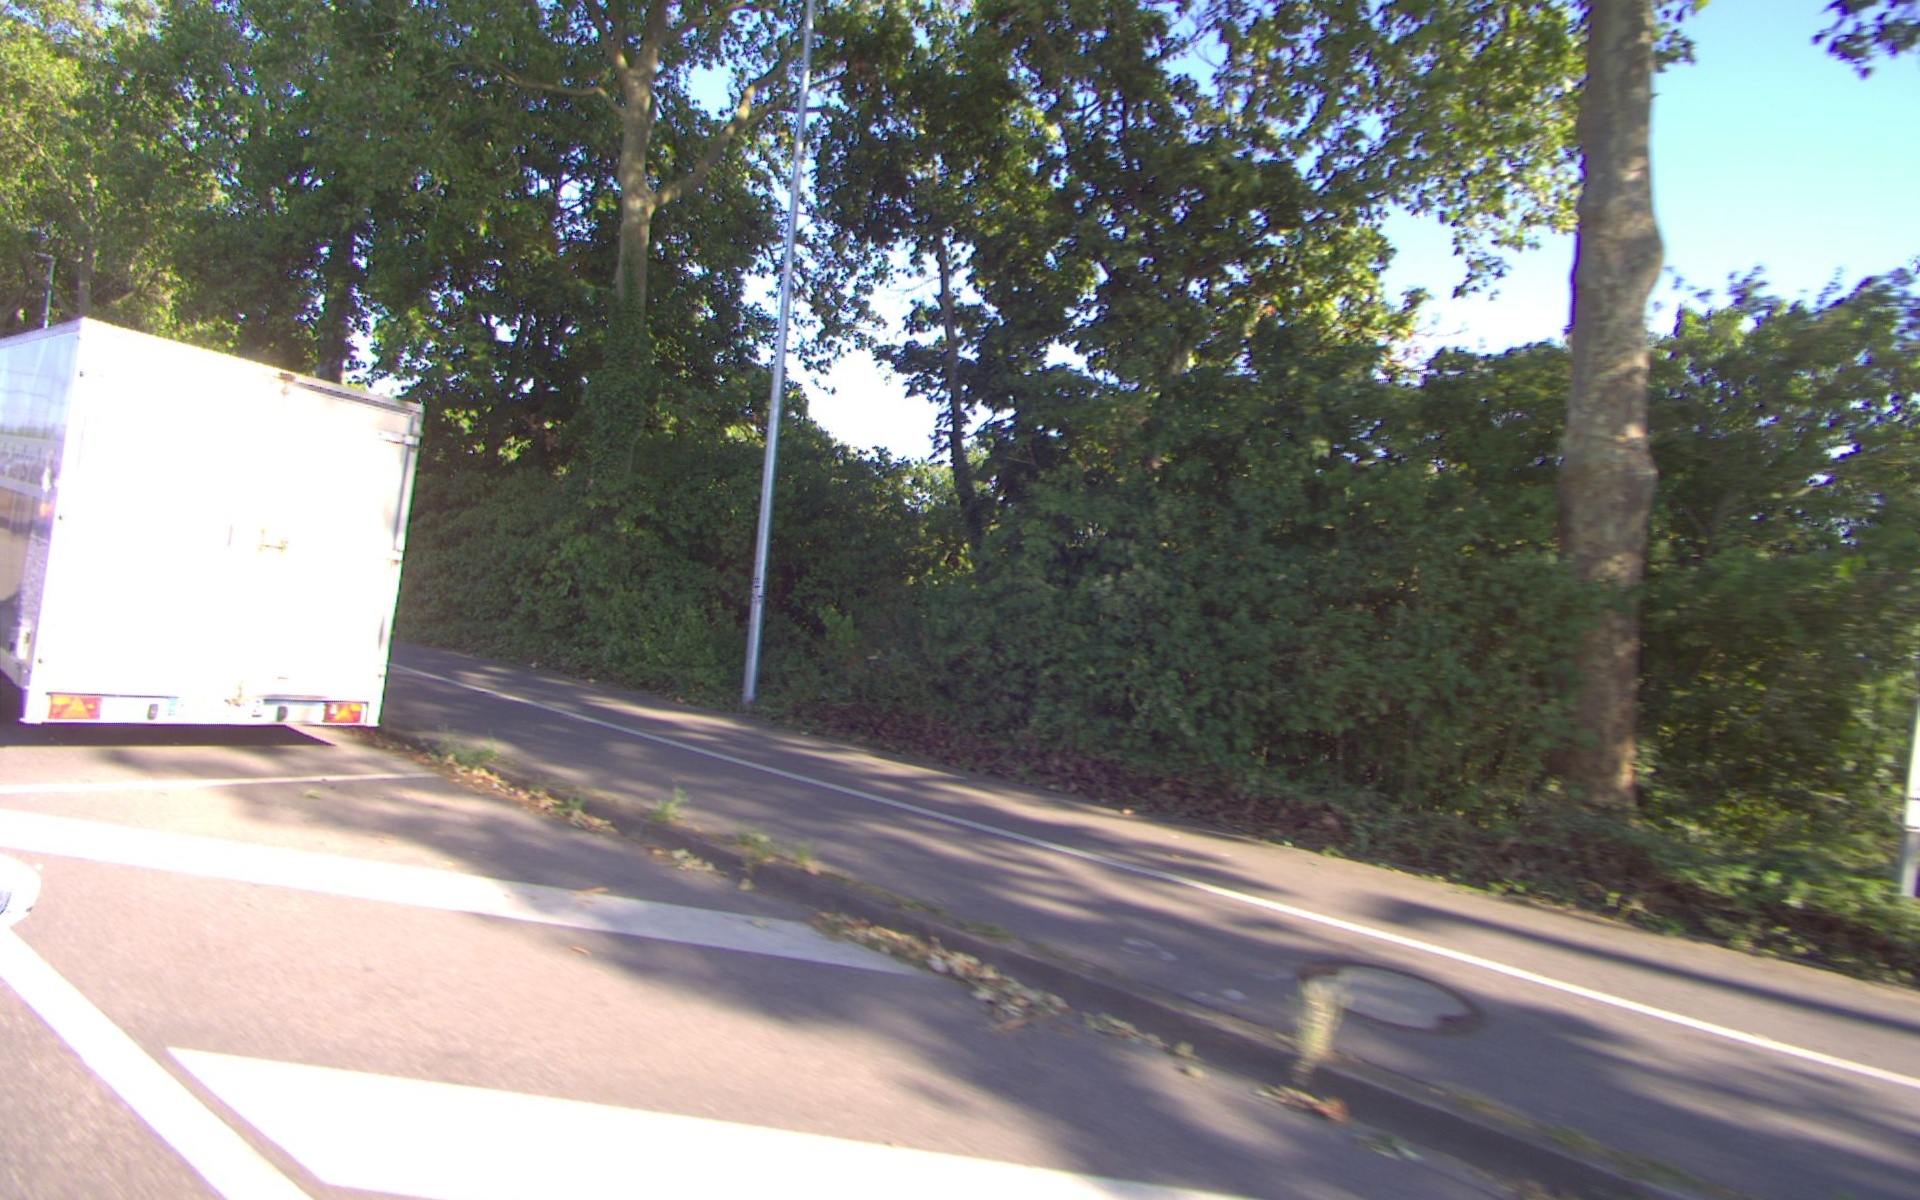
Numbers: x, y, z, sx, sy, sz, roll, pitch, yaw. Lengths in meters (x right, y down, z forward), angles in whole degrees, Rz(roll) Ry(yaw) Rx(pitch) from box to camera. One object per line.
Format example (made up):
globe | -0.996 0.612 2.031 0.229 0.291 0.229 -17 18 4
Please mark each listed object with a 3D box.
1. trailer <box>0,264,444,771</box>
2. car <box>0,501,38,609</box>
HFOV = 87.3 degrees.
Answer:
trailer | -6.751 -0.568 8.116 5.861 2.727 2.250 6 -1 40
car | -15.441 -0.895 14.810 4.100 1.473 1.811 6 -2 35
